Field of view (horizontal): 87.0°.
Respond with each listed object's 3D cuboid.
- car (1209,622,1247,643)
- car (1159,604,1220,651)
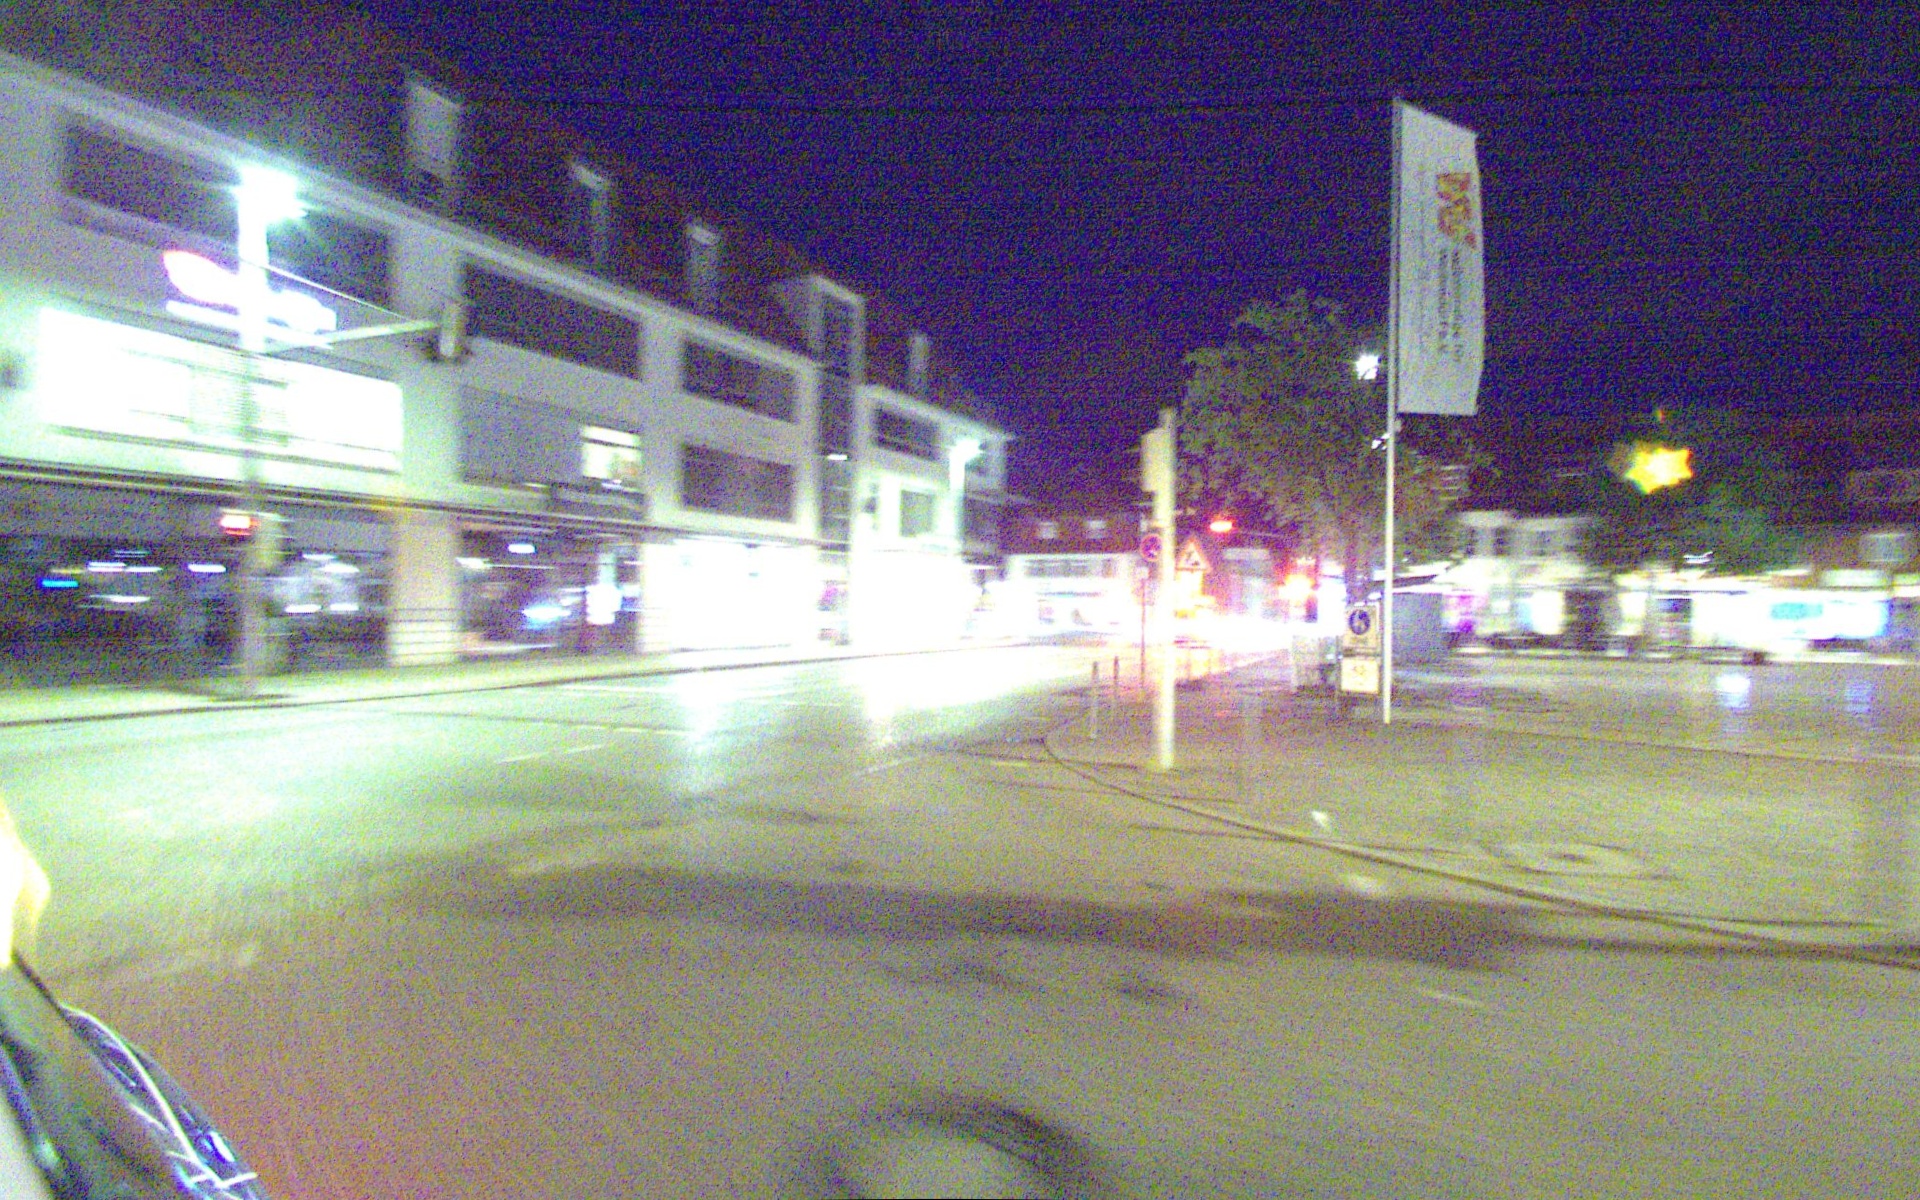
[{"bbox_3d":[20.800,2.486,78.454,1.990,1.584,3.962,-2,-2,28],"label":"car"},{"bbox_3d":[10.360,1.233,45.410,1.948,1.952,4.384,-1,-2,23],"label":"car"}]
